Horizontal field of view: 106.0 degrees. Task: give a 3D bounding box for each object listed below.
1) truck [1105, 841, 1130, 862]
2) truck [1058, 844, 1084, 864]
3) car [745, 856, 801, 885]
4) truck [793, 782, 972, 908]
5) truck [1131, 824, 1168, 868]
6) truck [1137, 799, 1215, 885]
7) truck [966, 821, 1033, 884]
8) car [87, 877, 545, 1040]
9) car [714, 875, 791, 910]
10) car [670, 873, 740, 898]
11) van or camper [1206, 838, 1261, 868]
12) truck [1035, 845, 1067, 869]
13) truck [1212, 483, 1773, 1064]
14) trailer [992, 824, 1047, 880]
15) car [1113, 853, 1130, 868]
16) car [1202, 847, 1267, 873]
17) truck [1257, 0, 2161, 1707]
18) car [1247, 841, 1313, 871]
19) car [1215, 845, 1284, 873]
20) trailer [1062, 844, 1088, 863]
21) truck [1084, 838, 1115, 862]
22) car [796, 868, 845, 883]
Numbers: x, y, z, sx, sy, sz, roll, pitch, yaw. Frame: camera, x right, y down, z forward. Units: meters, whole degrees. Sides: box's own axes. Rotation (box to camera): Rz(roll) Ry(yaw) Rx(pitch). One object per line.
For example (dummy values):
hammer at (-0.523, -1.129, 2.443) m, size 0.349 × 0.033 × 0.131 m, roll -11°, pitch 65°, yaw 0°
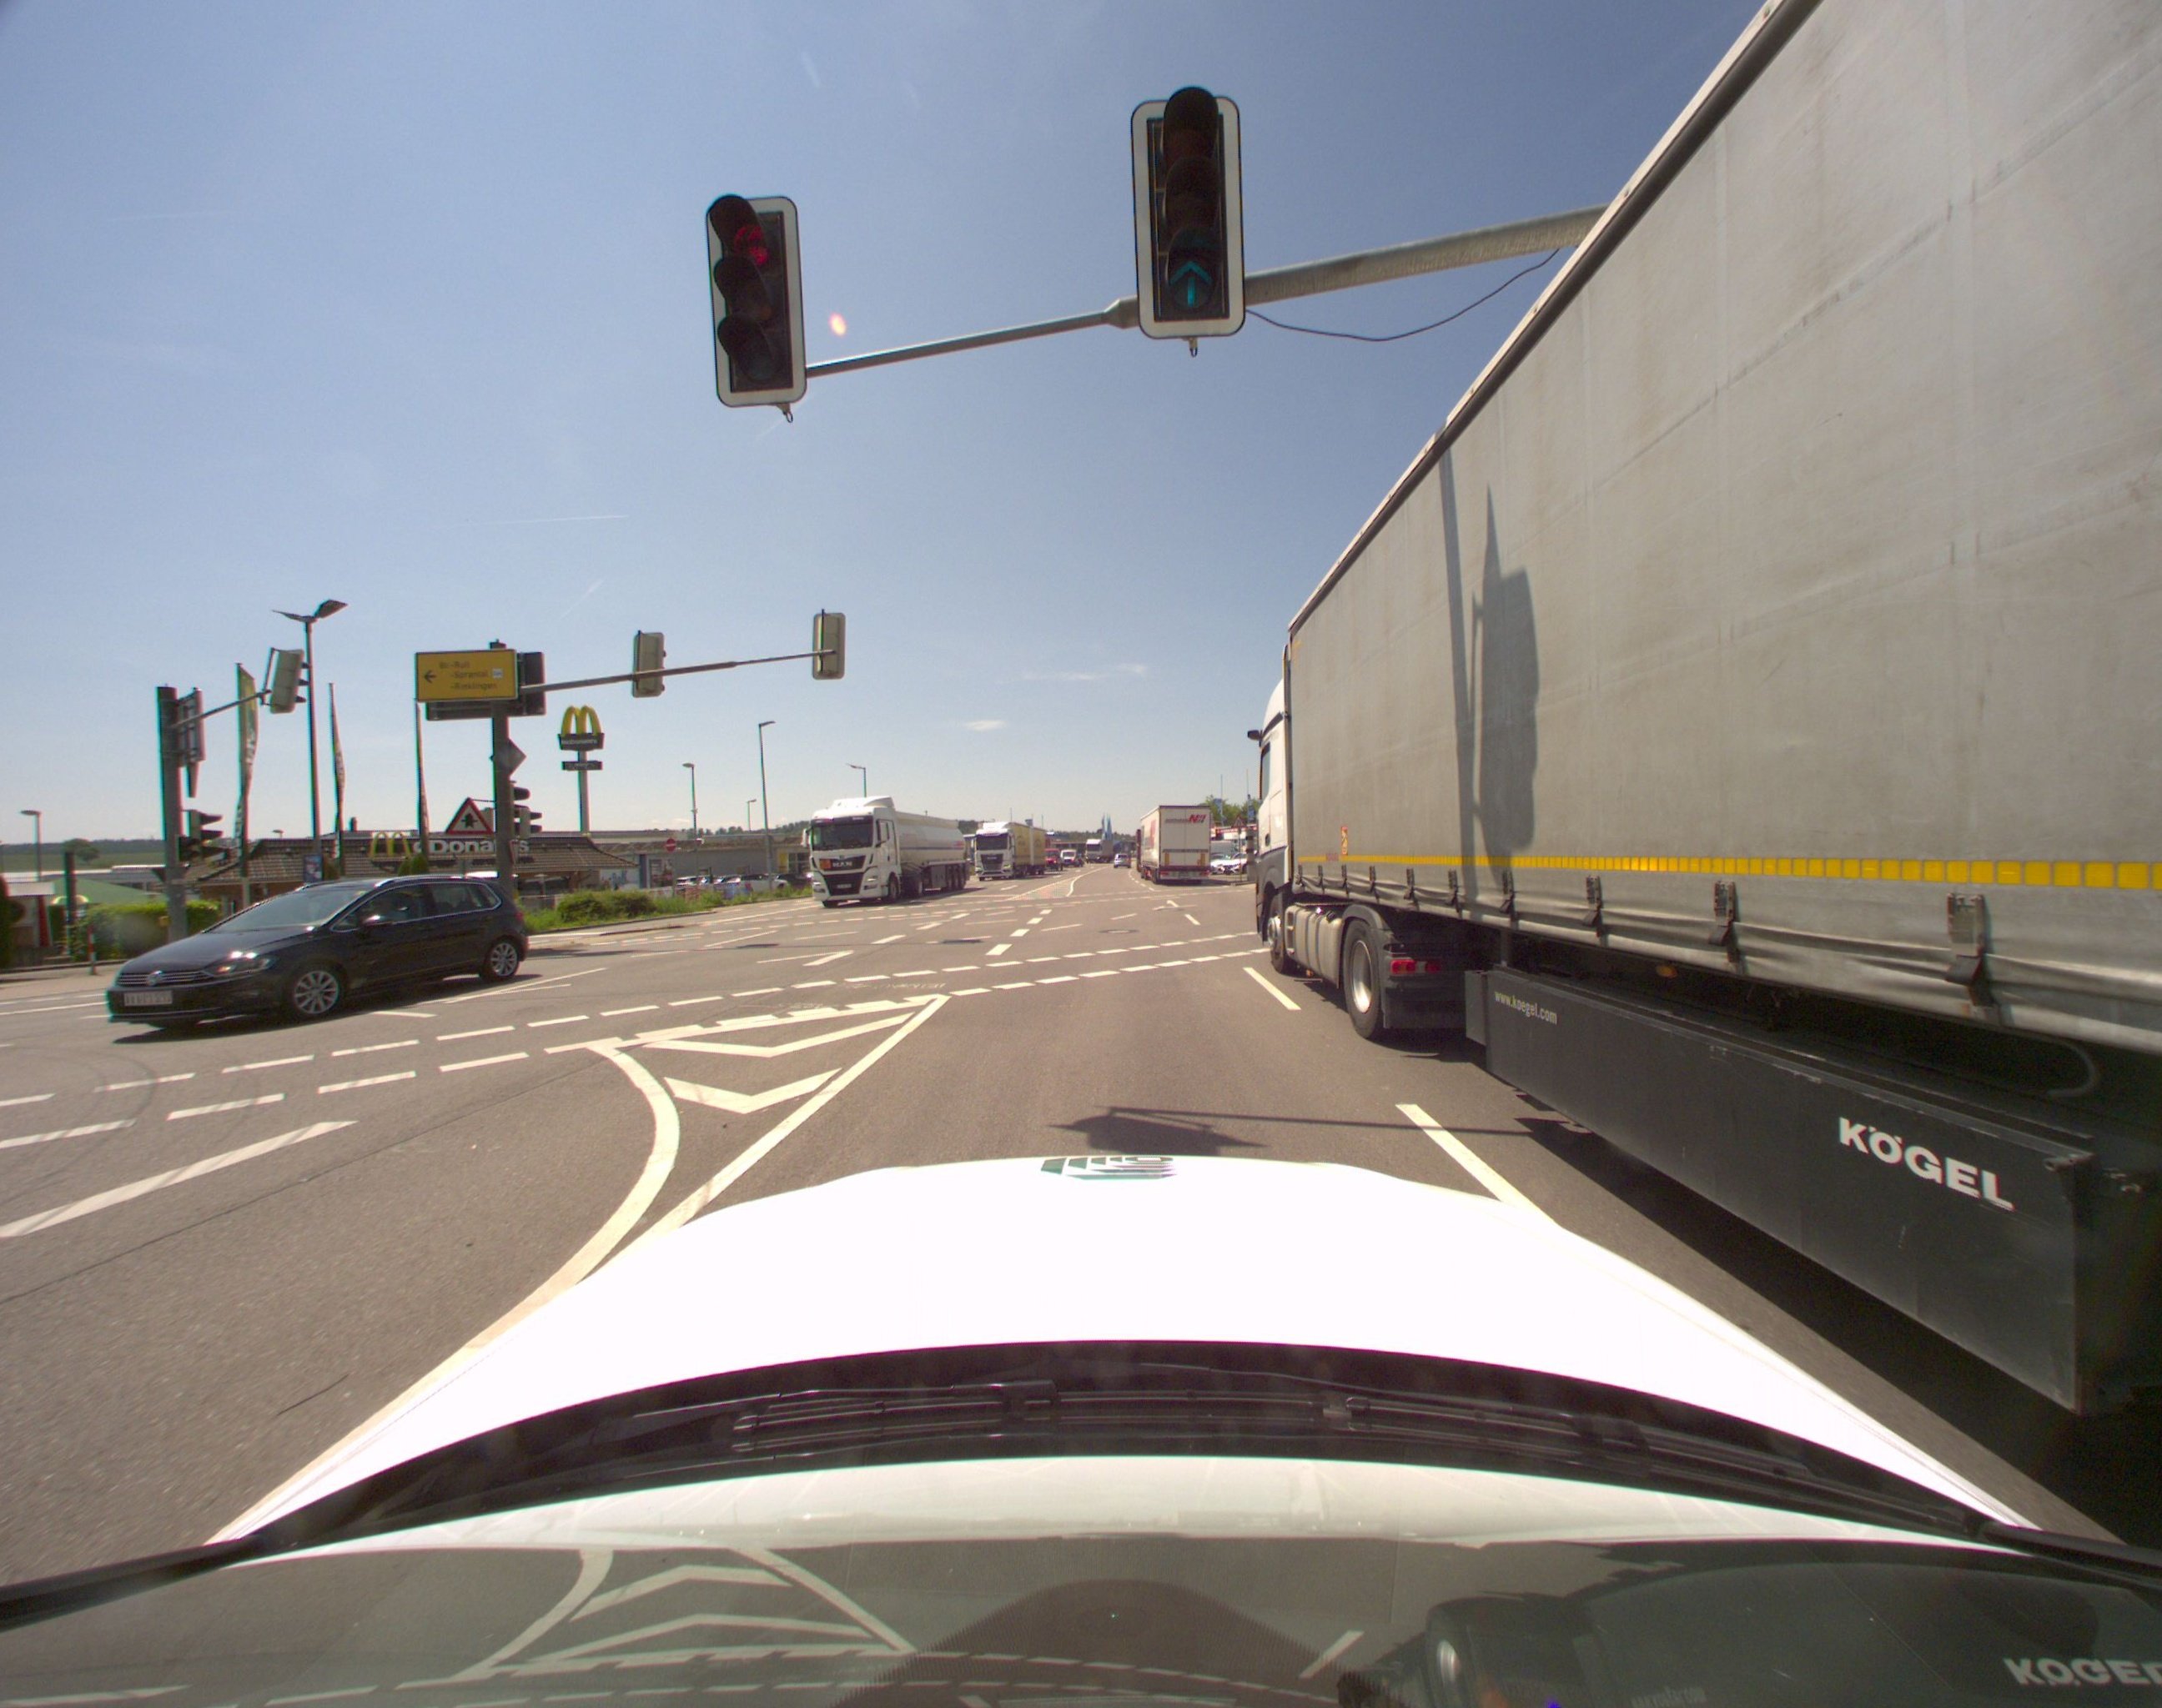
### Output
truck at (7.464, -0.421, 163.344) m, size 2.826 × 3.889 × 17.053 m, roll -1°, pitch 0°, yaw 10°
truck at (-1.257, -0.026, 102.583) m, size 2.412 × 2.340 × 5.686 m, roll -3°, pitch 0°, yaw 7°
car at (-22.976, 1.243, 60.866) m, size 1.689 × 2.013 × 3.523 m, roll -2°, pitch 0°, yaw 36°
truck at (-7.591, -0.302, 34.497) m, size 2.593 × 4.018 × 15.147 m, roll -3°, pitch 0°, yaw 4°
truck at (6.416, -0.695, 78.587) m, size 2.638 × 3.806 × 13.361 m, roll 1°, pitch 0°, yaw 1°
truck at (5.166, -0.559, 47.977) m, size 2.962 × 4.093 × 17.639 m, roll 0°, pitch 0°, yaw 1°
truck at (-5.791, -0.084, 59.851) m, size 3.015 × 4.105 × 10.366 m, roll -2°, pitch 0°, yaw 4°
car at (-9.230, 1.136, 10.434) m, size 1.676 × 1.428 × 4.159 m, roll -4°, pitch 0°, yaw 4°
car at (-21.827, 2.560, 54.285) m, size 1.974 × 2.013 × 4.268 m, roll -4°, pitch 0°, yaw 39°
car at (-26.552, 2.200, 57.586) m, size 1.974 × 1.464 × 4.026 m, roll -4°, pitch 0°, yaw 35°
van or camper at (15.666, -0.090, 83.857) m, size 5.342 × 2.905 × 2.236 m, roll -1°, pitch 0°, yaw 5°
truck at (-3.079, 0.345, 84.960) m, size 2.384 × 2.445 × 6.883 m, roll 0°, pitch -1°, yaw 6°
truck at (3.450, -0.572, 9.013) m, size 2.962 × 4.010 × 6.329 m, roll -3°, pitch 0°, yaw 2°
trailer at (-5.044, -0.145, 68.690) m, size 2.997 × 4.287 × 10.071 m, roll -2°, pitch 0°, yaw 5°
car at (4.715, 0.738, 94.966) m, size 1.915 × 1.610 × 4.098 m, roll -1°, pitch -1°, yaw 3°
car at (11.160, 0.452, 59.147) m, size 4.489 × 1.409 × 1.730 m, roll -6°, pitch 1°, yaw -29°
truck at (3.190, -0.621, 1.364) m, size 2.962 × 4.010 × 14.129 m, roll -3°, pitch 0°, yaw 2°
car at (13.291, 0.135, 54.209) m, size 4.192 × 1.691 × 1.864 m, roll -4°, pitch 1°, yaw -34°
car at (11.744, 0.316, 56.631) m, size 4.761 × 1.552 × 1.978 m, roll -5°, pitch 1°, yaw -37°
trailer at (-0.793, -0.039, 106.477) m, size 2.415 × 2.338 × 6.909 m, roll -3°, pitch 0°, yaw 7°
truck at (3.365, -0.564, 141.941) m, size 2.773 × 3.889 × 16.528 m, roll -1°, pitch 0°, yaw 10°
car at (-20.484, 1.691, 64.086) m, size 1.543 × 1.068 × 3.391 m, roll -2°, pitch 0°, yaw 35°
